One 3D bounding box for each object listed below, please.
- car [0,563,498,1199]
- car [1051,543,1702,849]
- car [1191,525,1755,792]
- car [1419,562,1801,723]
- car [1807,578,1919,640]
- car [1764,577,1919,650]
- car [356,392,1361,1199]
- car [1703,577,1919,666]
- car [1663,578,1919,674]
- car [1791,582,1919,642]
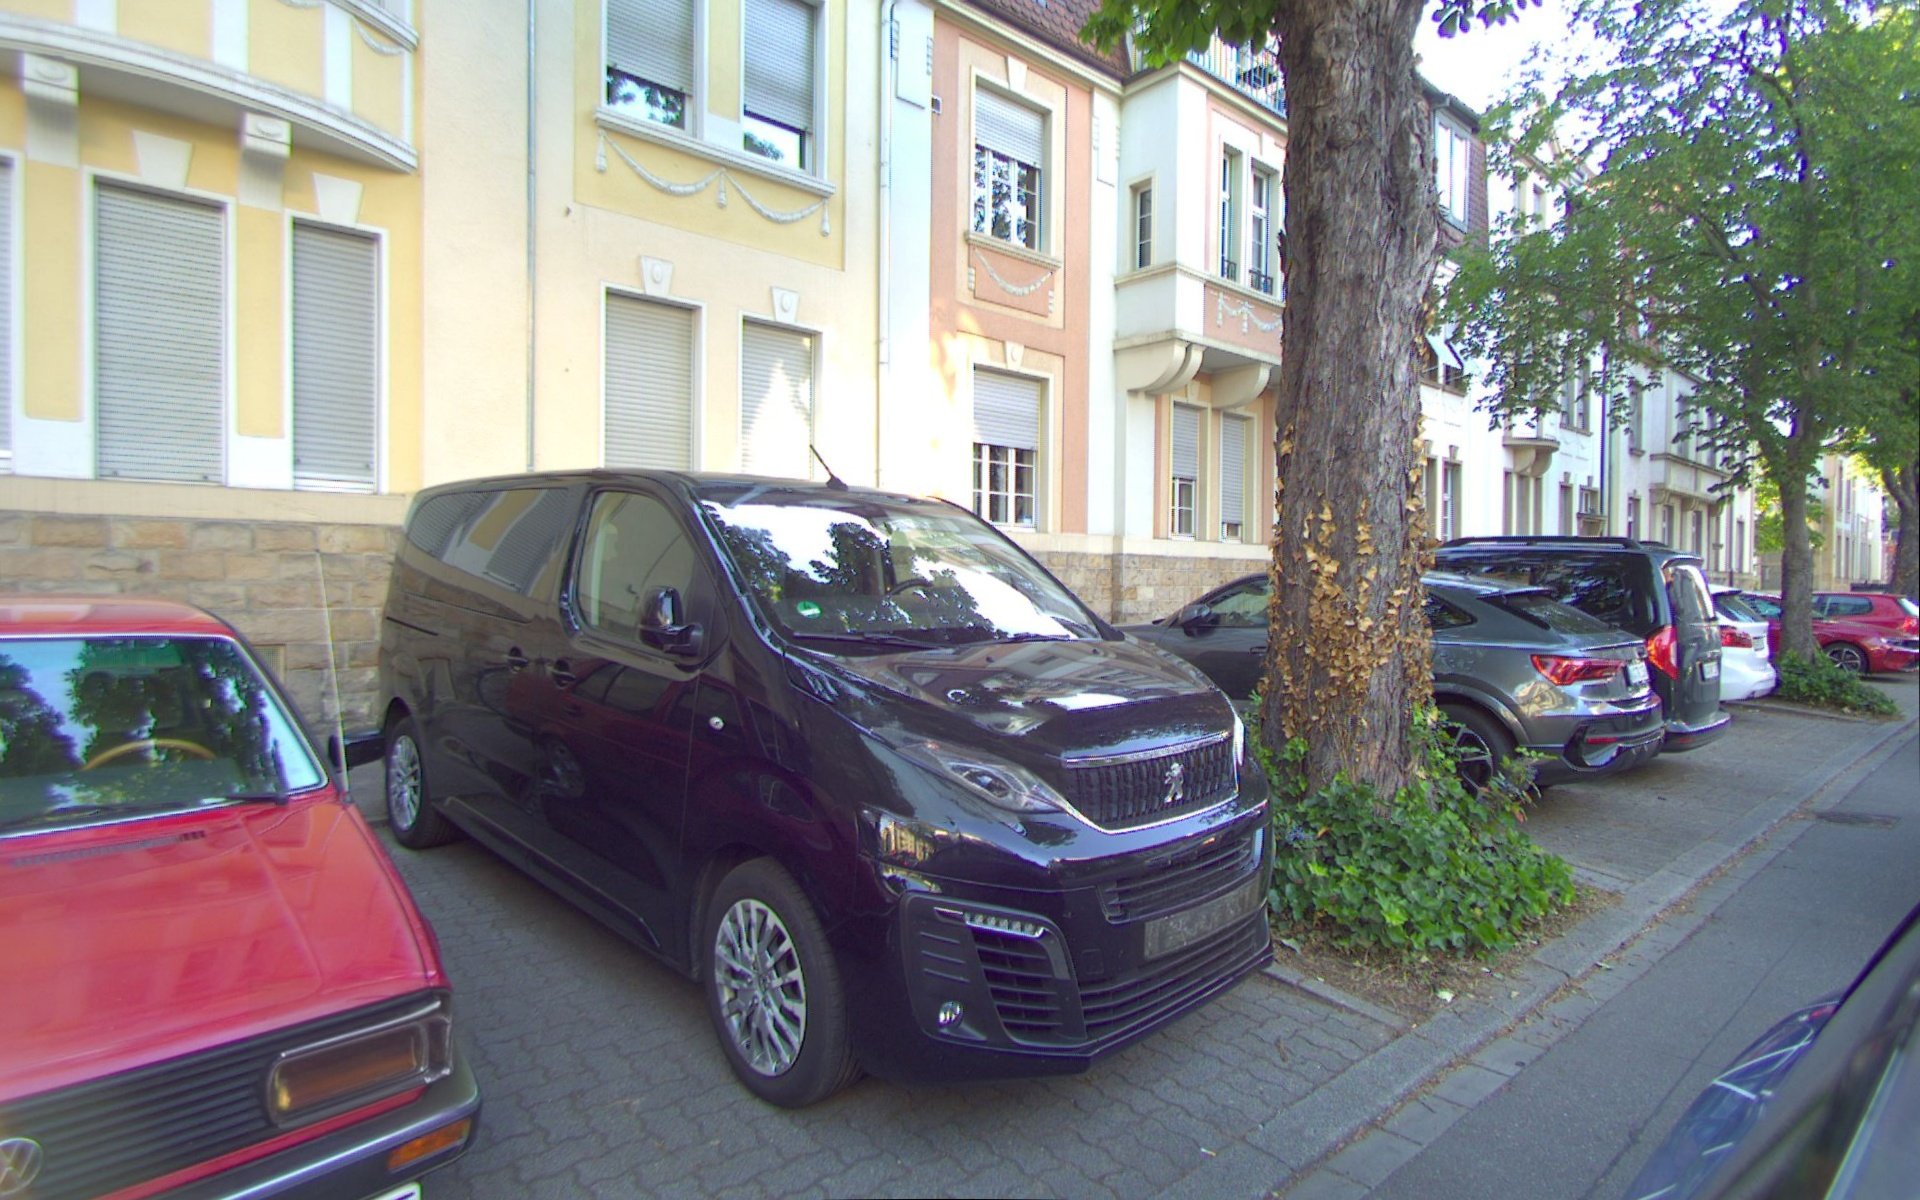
[{"bbox_3d":[-2.815,0.612,2.966,1.532,1.337,3.917,-1,4,-43],"label":"car"},{"bbox_3d":[2.780,0.419,7.510,1.569,1.611,4.165,-1,4,-44],"label":"car"},{"bbox_3d":[4.305,0.279,9.023,1.569,1.849,4.165,-1,4,-44],"label":"car"},{"bbox_3d":[7.728,0.382,12.259,1.513,1.569,3.616,-1,3,-45],"label":"car"},{"bbox_3d":[25.944,0.248,27.997,1.511,1.584,3.621,0,2,-40],"label":"car"},{"bbox_3d":[21.613,0.301,24.088,1.511,1.584,3.621,0,2,-40],"label":"car"},{"bbox_3d":[-0.997,0.342,4.523,1.851,1.846,4.825,-1,4,-44],"label":"car"},{"bbox_3d":[16.856,0.368,19.663,1.511,1.482,3.621,0,3,-40],"label":"car"},{"bbox_3d":[14.945,0.394,18.082,1.511,1.420,3.621,0,3,-40],"label":"car"},{"bbox_3d":[23.967,0.299,26.150,1.511,1.420,3.621,0,2,-40],"label":"car"}]
